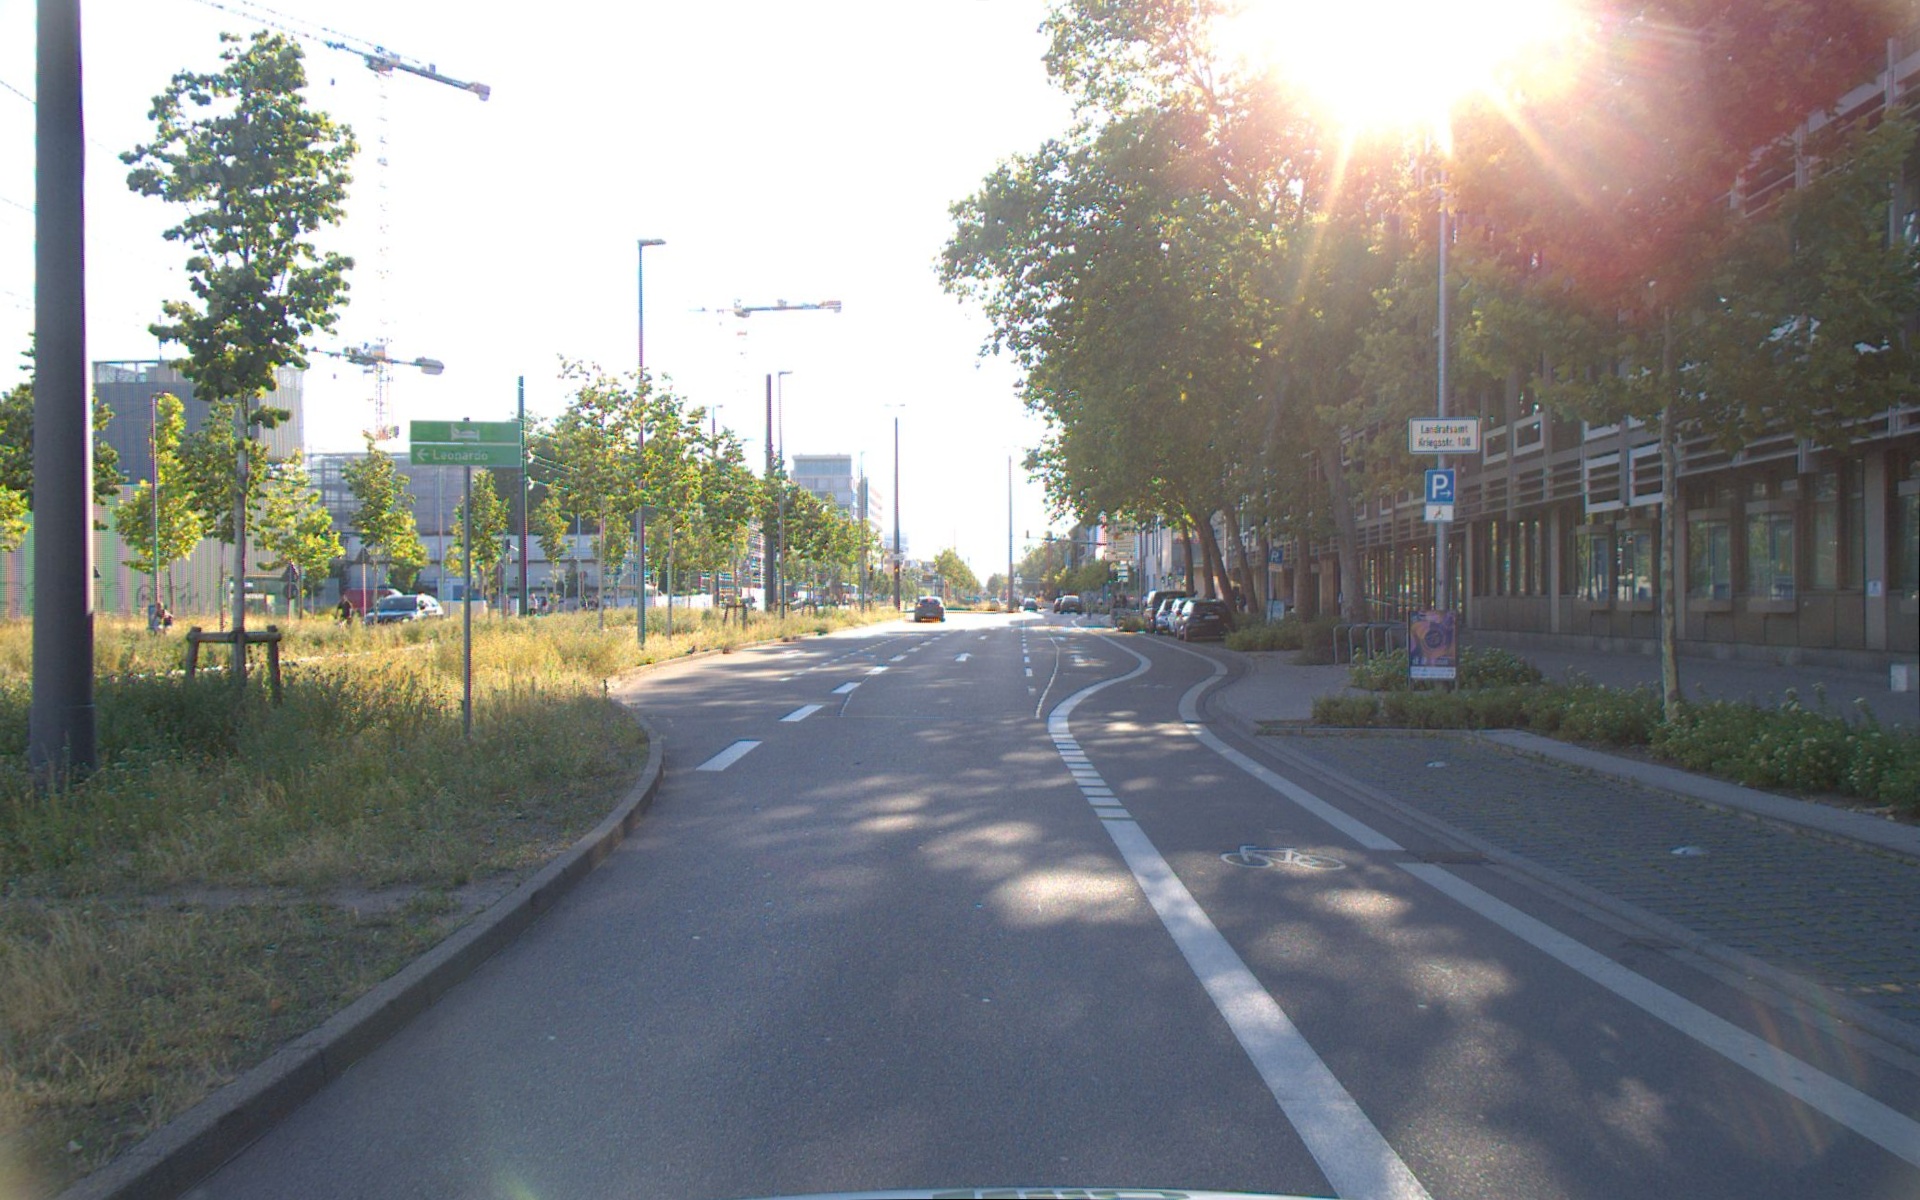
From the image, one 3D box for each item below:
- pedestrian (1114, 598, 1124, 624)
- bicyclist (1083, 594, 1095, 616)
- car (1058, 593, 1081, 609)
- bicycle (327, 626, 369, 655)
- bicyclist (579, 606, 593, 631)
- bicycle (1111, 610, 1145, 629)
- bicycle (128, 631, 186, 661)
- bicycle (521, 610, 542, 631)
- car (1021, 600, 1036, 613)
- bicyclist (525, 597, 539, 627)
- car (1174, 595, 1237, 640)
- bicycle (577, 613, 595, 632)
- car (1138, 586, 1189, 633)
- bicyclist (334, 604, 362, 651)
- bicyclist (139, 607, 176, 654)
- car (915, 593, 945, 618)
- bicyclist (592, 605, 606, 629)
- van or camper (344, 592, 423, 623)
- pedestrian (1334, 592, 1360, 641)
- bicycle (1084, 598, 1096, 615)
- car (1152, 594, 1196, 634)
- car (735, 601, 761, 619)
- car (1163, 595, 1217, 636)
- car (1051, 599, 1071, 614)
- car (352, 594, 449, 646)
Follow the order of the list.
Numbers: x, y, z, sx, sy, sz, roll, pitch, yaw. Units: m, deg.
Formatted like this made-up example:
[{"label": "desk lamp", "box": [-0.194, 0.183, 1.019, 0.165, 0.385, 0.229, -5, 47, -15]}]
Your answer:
[{"label": "pedestrian", "box": [11.012, 0.772, 114.384, 0.621, 1.732, 0.570, -2, 0, 2]}, {"label": "bicyclist", "box": [9.301, 0.364, 119.406, 0.783, 1.630, 0.785, 0, 0, 1]}, {"label": "car", "box": [10.312, 0.117, 155.575, 1.900, 1.453, 3.925, -1, 0, 0]}, {"label": "bicycle", "box": [-23.283, 1.519, 62.945, 0.673, 1.020, 2.362, -1, 0, 2]}, {"label": "bicyclist", "box": [-22.783, 1.119, 100.659, 0.571, 1.467, 1.076, 0, 0, 2]}, {"label": "bicycle", "box": [8.633, 1.008, 84.844, 1.656, 0.882, 0.573, -2, 0, 10]}, {"label": "bicycle", "box": [-23.717, 1.340, 48.908, 0.673, 0.818, 2.145, -1, 0, 0]}, {"label": "bicycle", "box": [-22.425, 1.075, 86.650, 0.547, 1.078, 1.899, 0, 0, 2]}, {"label": "car", "box": [8.764, 0.815, 211.840, 1.723, 1.511, 3.850, -1, 0, 0]}, {"label": "bicyclist", "box": [-22.418, 0.623, 86.712, 0.545, 1.533, 0.668, 0, 0, 2]}, {"label": "car", "box": [8.632, 0.596, 58.406, 1.671, 1.443, 4.277, -3, 0, 2]}, {"label": "bicycle", "box": [-22.791, 1.369, 100.806, 0.571, 1.124, 1.988, 0, 0, 2]}, {"label": "car", "box": [9.375, 0.434, 76.653, 1.791, 2.005, 5.323, -3, 0, 2]}, {"label": "bicyclist", "box": [-23.312, 1.044, 62.976, 0.673, 1.738, 0.954, -1, 0, 1]}, {"label": "bicyclist", "box": [-23.710, 0.887, 48.888, 0.673, 1.370, 0.871, -1, 0, 0]}, {"label": "car", "box": [-1.780, 0.290, 98.968, 1.740, 1.453, 4.000, 0, 0, 0]}, {"label": "bicyclist", "box": [-22.034, 1.020, 100.899, 0.571, 1.467, 1.076, 0, 0, 2]}, {"label": "van or camper", "box": [-45.869, 0.591, 131.651, 5.541, 2.456, 2.156, -1, 0, 3]}, {"label": "pedestrian", "box": [15.068, 0.645, 64.414, 0.814, 1.888, 0.847, 0, 0, 1]}, {"label": "bicycle", "box": [9.373, 0.441, 119.349, 0.783, 1.225, 2.264, 0, 0, 2]}, {"label": "car", "box": [9.057, 0.558, 70.354, 1.646, 1.541, 5.062, -3, 0, 6]}, {"label": "car", "box": [-20.940, 0.978, 163.283, 1.952, 1.807, 4.001, -1, 0, 1]}, {"label": "car", "box": [8.988, 0.588, 64.841, 1.646, 1.504, 3.875, -3, 0, 2]}, {"label": "car", "box": [10.763, 0.672, 176.331, 1.900, 1.511, 3.925, -1, 0, 0]}, {"label": "car", "box": [-20.241, 0.685, 60.029, 1.832, 1.796, 4.813, -1, 0, 1]}]
